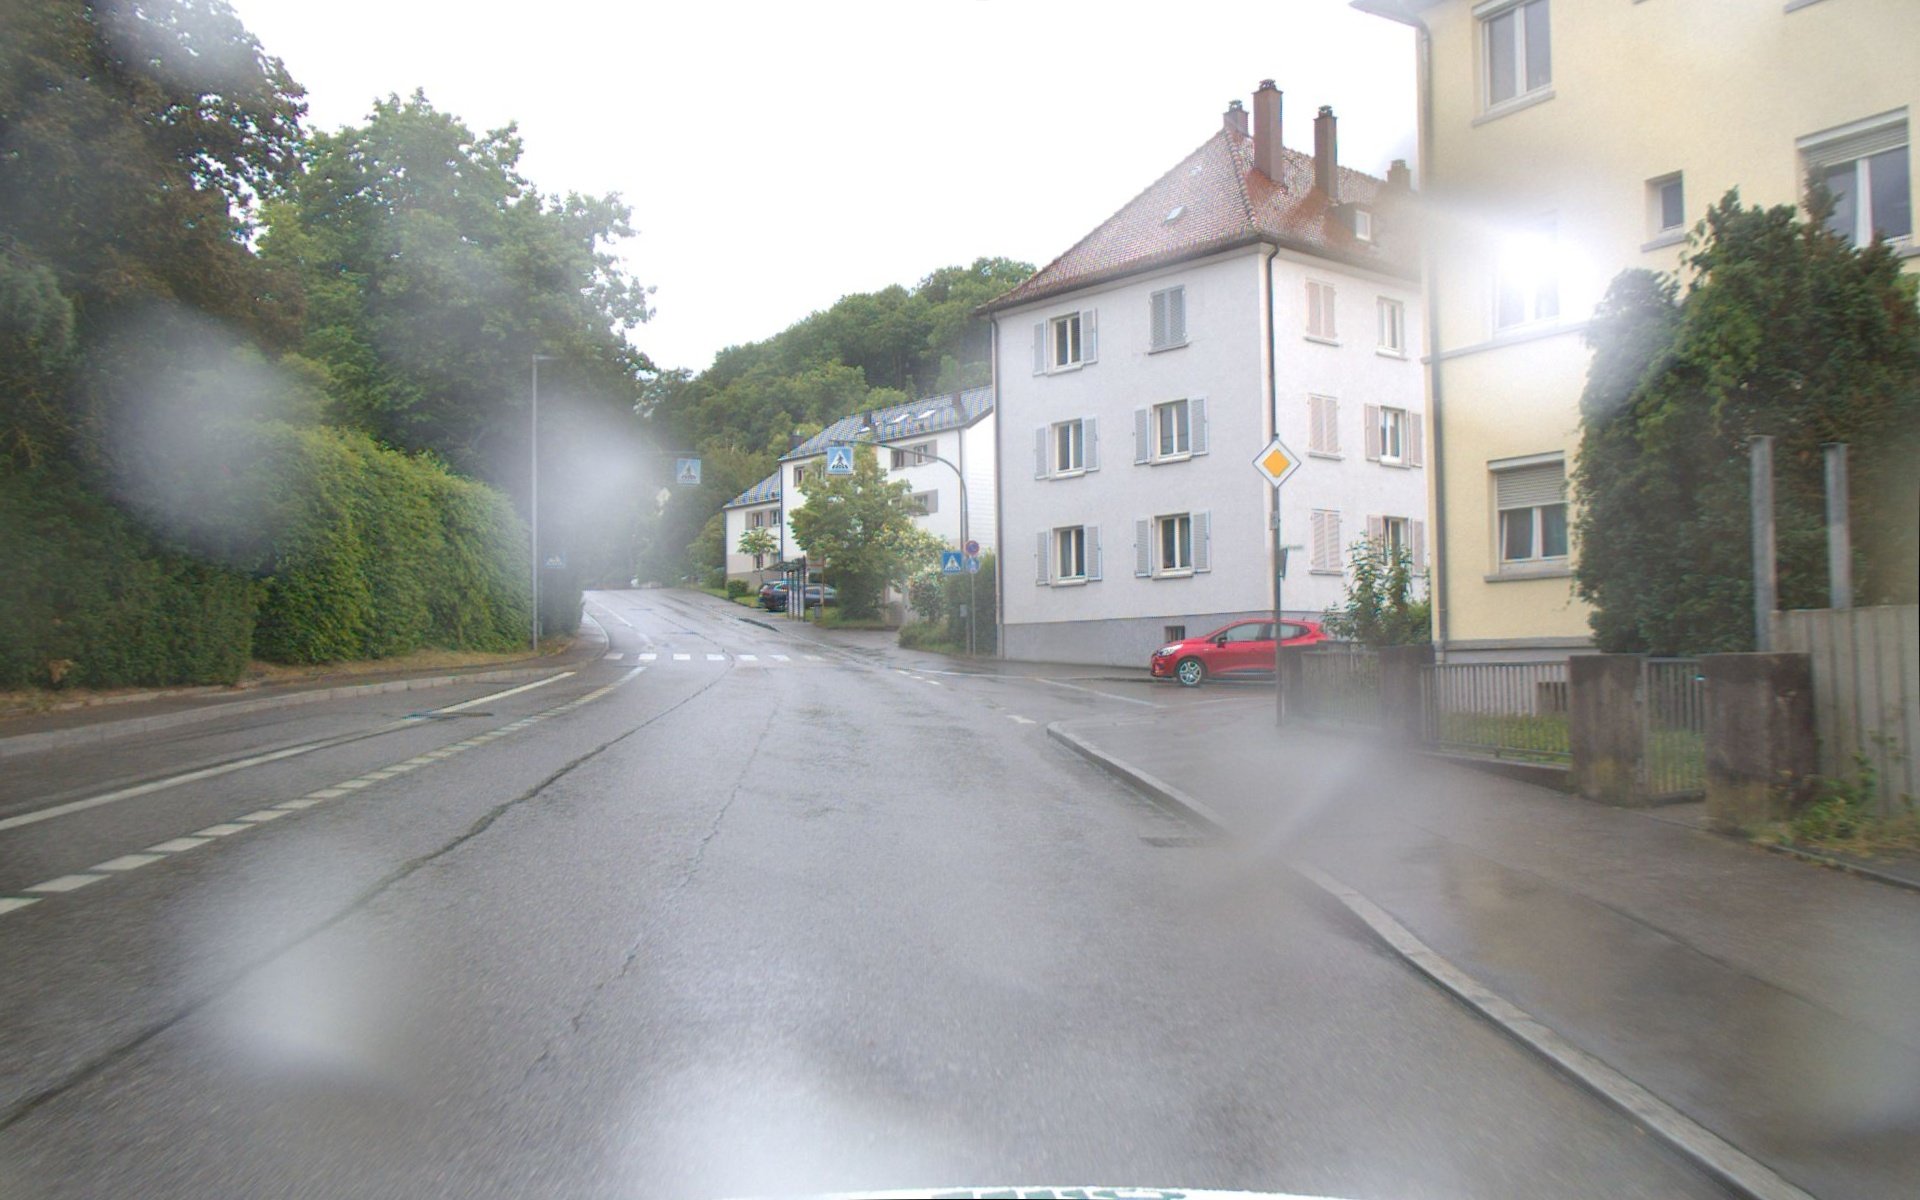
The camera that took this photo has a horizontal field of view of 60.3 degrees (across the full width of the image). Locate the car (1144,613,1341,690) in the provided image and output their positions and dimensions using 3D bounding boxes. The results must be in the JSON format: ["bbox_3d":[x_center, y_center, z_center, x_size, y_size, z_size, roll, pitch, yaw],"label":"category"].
[{"bbox_3d":[5.952,1.068,35.185,3.994,1.432,1.725,2,0,6],"label":"car"}]

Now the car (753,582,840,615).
[{"bbox_3d":[-9.077,-0.077,91.839,4.464,1.689,1.844,-1,2,-23],"label":"car"}]

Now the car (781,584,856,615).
[{"bbox_3d":[-7.457,-0.029,87.017,3.684,1.484,1.716,-1,2,-18],"label":"car"}]
